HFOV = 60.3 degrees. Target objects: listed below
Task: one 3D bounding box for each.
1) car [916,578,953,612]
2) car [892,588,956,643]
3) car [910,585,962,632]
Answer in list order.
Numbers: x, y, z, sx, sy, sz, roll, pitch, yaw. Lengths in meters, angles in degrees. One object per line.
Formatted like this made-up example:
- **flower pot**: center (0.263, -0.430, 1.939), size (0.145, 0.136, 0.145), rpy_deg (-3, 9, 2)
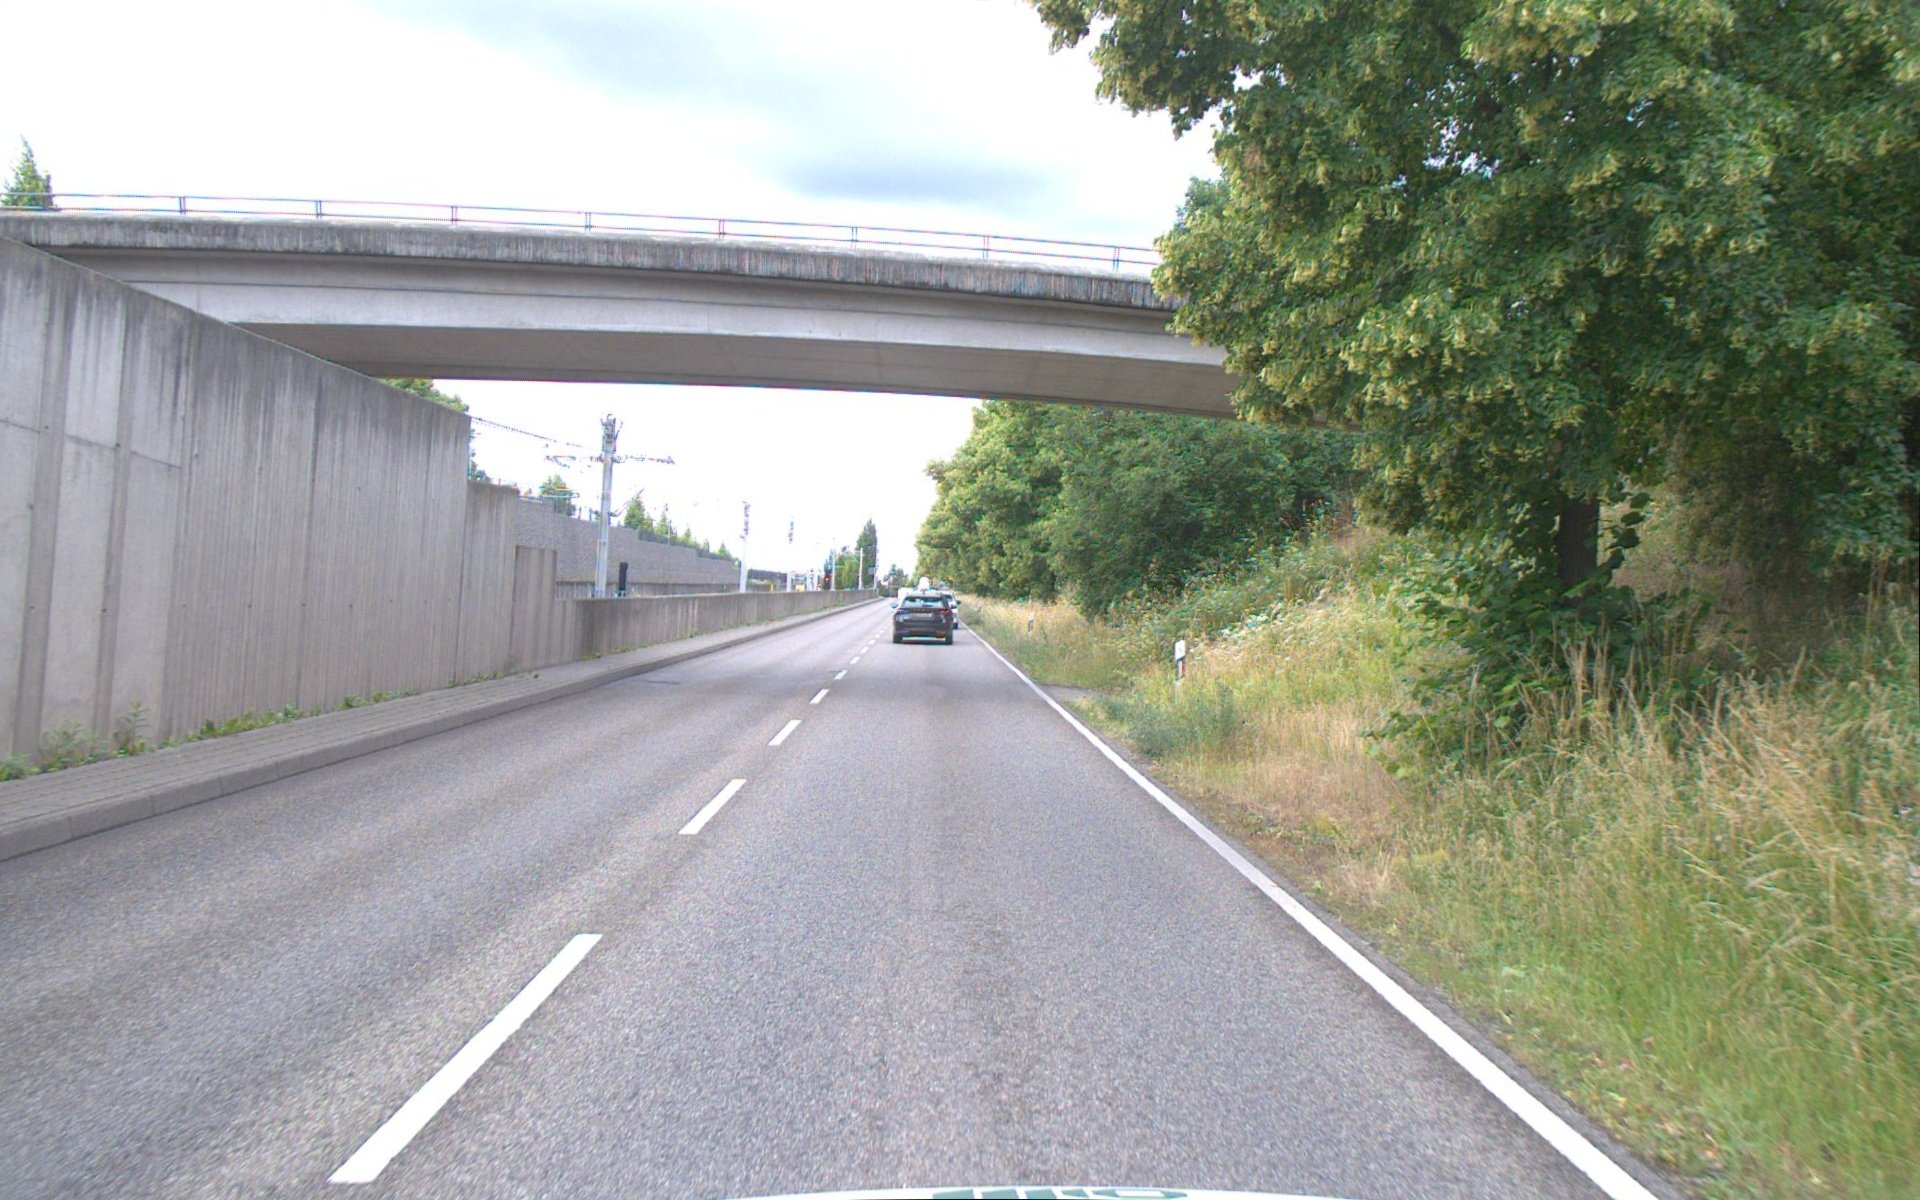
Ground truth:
- **car**: center (-1.390, -0.246, 89.838), size (1.953, 1.771, 3.999), rpy_deg (1, -1, -1)
- **car**: center (-1.043, 0.420, 48.170), size (1.745, 1.493, 3.999), rpy_deg (1, 0, -1)
- **car**: center (-0.974, 0.329, 66.304), size (1.953, 1.783, 3.999), rpy_deg (1, 0, -1)
